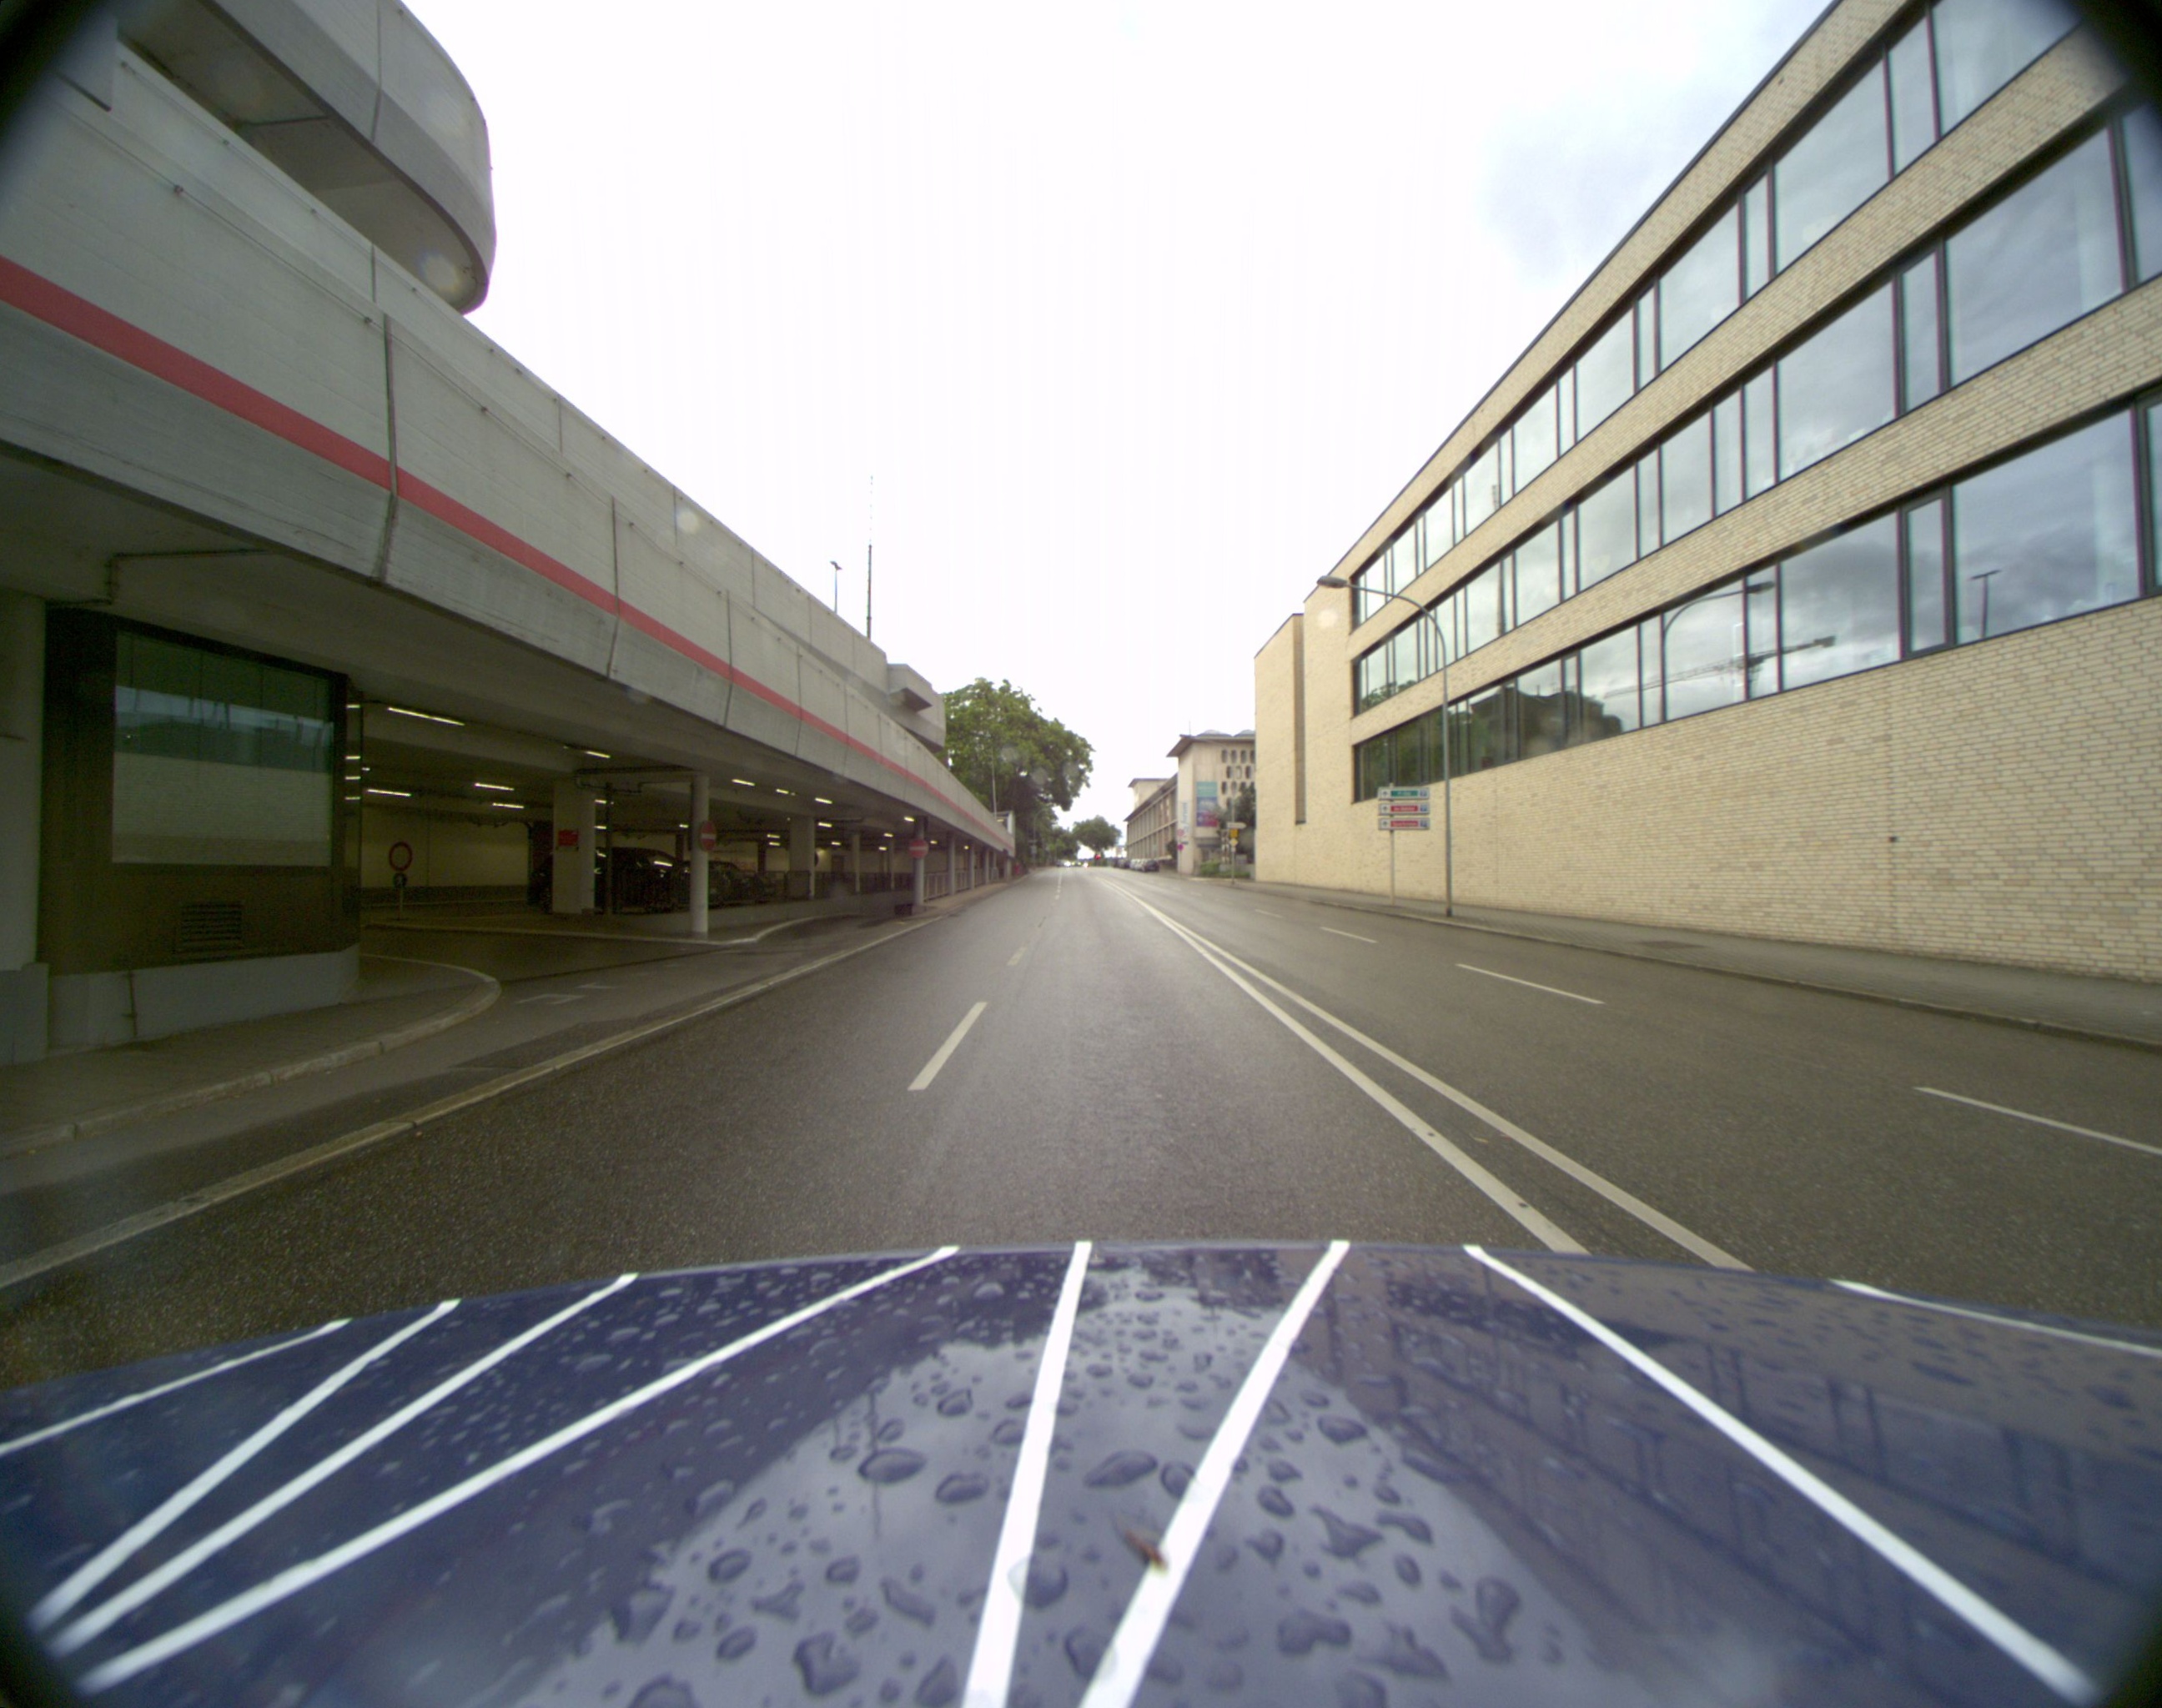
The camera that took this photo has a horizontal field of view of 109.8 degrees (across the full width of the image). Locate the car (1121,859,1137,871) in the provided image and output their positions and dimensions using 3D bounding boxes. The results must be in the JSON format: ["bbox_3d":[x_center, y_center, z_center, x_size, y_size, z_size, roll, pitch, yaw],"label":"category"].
[{"bbox_3d":[7.660,1.705,121.768,1.999,1.702,3.999,-3,1,-1],"label":"car"}]

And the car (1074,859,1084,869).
[{"bbox_3d":[-0.518,2.178,170.014,1.806,2.002,3.997,-2,1,-6],"label":"car"}]

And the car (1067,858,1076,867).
[{"bbox_3d":[-2.343,2.007,180.656,1.998,2.002,3.999,-2,1,1],"label":"car"}]

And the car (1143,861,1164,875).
[{"bbox_3d":[8.624,1.645,91.113,1.999,1.520,3.999,-2,1,-2],"label":"car"}]

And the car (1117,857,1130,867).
[{"bbox_3d":[7.930,1.436,142.707,1.999,1.637,3.998,-3,2,-2],"label":"car"}]

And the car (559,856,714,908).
[{"bbox_3d":[-13.498,0.835,23.211,3.730,1.496,1.808,0,-1,7],"label":"car"}]

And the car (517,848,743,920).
[{"bbox_3d":[-11.010,0.712,18.715,4.585,1.630,1.823,1,-1,6],"label":"car"}]

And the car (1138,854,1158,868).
[{"bbox_3d":[8.473,0.899,96.536,1.999,1.632,3.999,-2,1,-1],"label":"car"}]

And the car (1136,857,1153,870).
[{"bbox_3d":[8.495,1.249,101.685,1.998,1.502,4.002,-2,-2,0],"label":"car"}]
